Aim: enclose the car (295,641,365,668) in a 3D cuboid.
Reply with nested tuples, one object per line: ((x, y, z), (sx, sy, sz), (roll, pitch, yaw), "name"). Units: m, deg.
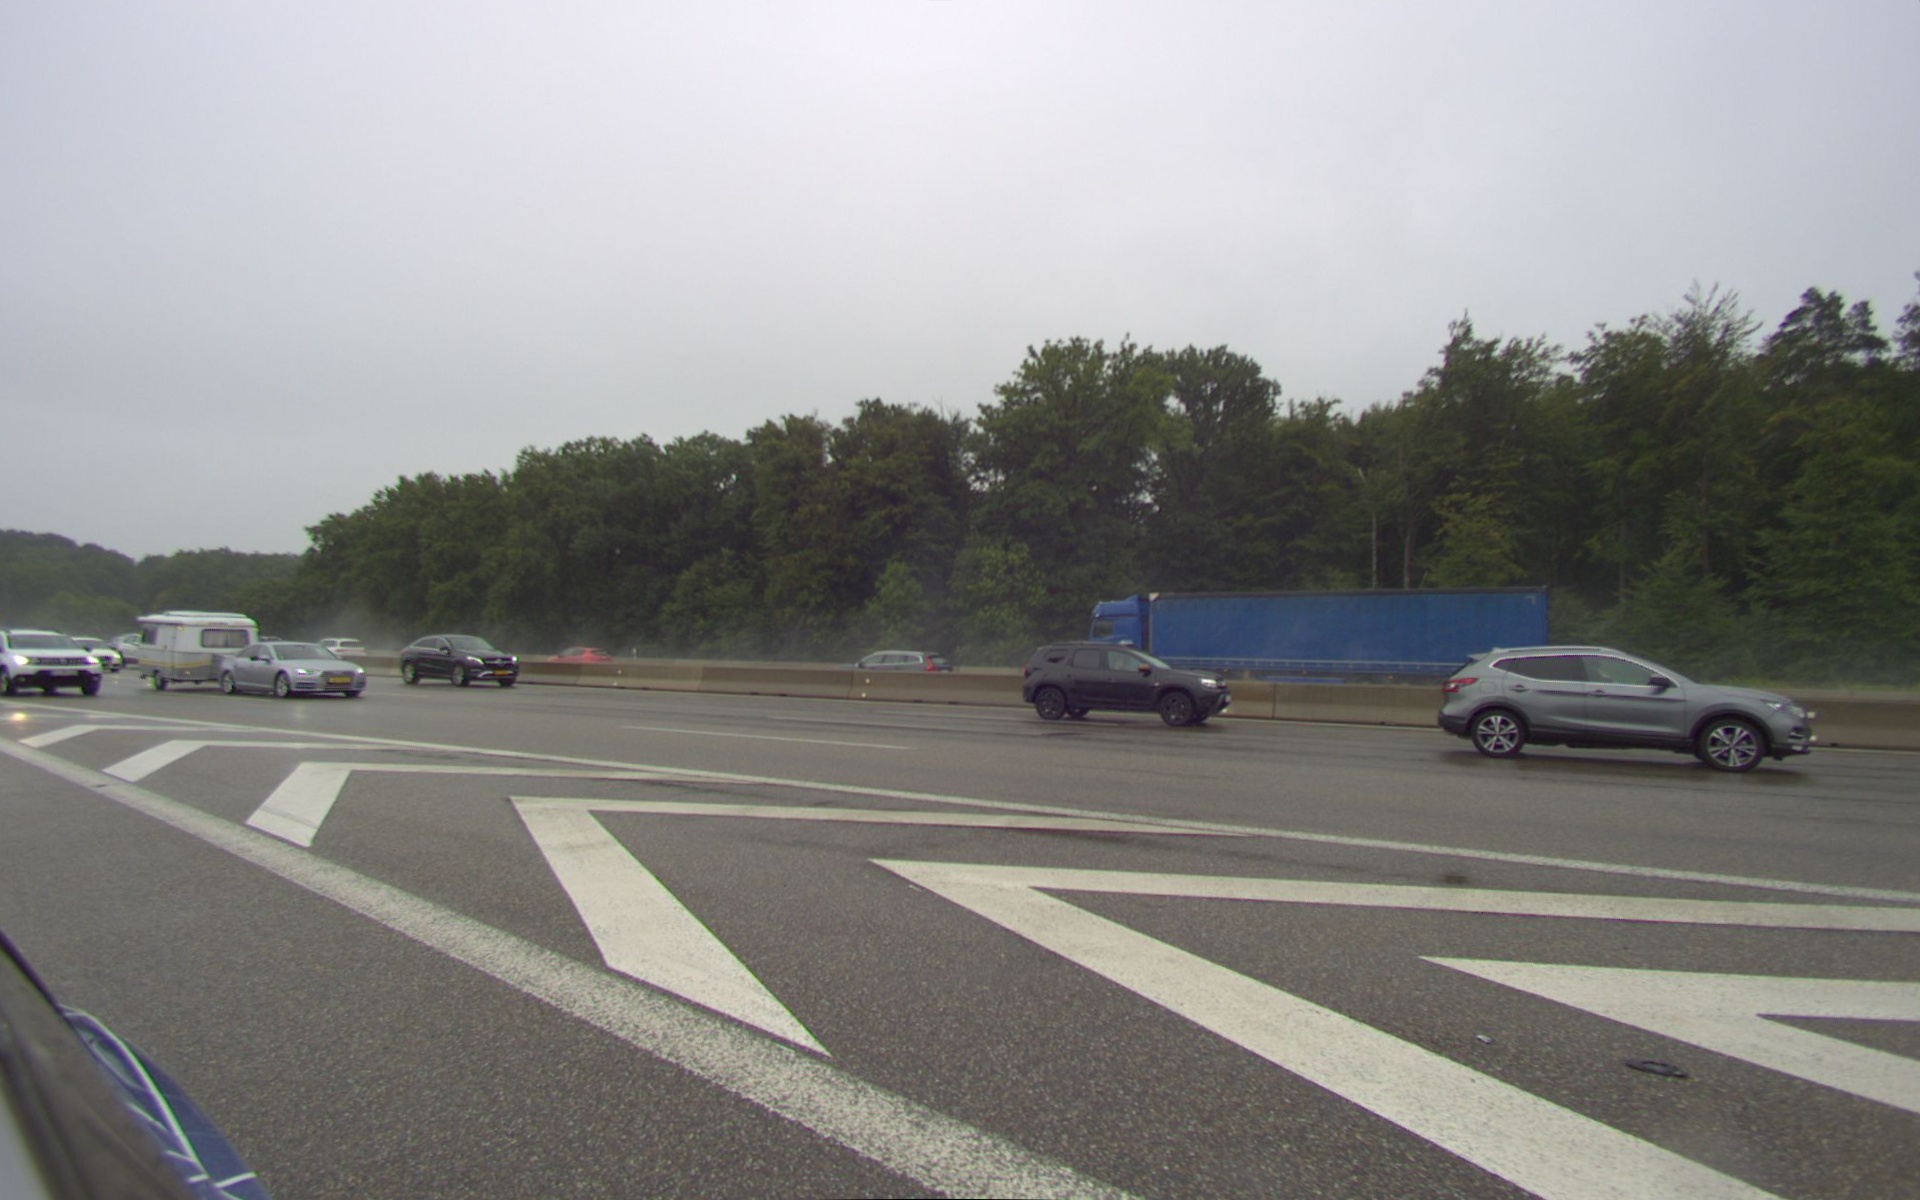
((-37.157, 3.180, 59.653), (4.321, 1.538, 1.774), (-1, -3, 32), "car")

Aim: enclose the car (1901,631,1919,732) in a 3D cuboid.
((21.007, 1.601, 19.375), (3.984, 2.029, 1.861), (-1, -3, 30), "car")

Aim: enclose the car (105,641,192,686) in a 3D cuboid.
((-38.889, 3.010, 48.483), (3.983, 2.029, 1.922), (-2, -1, 30), "car")

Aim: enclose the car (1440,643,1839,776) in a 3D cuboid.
((9.116, 1.413, 14.016), (4.319, 1.586, 1.705), (-1, -4, 32), "car")

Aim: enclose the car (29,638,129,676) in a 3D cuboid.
((-37.102, 2.390, 42.590), (4.486, 1.492, 1.866), (-1, -4, 31), "car")

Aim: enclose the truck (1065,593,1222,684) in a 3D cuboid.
((7.403, 1.537, 40.952), (5.687, 3.441, 2.742), (-1, -3, 30), "truck")

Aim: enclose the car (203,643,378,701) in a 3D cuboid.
((-17.025, 1.798, 25.684), (4.563, 1.358, 1.833), (-1, -5, 30), "car")

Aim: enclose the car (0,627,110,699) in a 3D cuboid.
((-22.775, 1.531, 24.659), (4.307, 1.598, 1.773), (-2, -5, 31), "car")

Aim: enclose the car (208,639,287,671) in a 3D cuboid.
((-40.097, 3.080, 56.942), (4.194, 1.697, 1.979), (0, -3, 30), "car")

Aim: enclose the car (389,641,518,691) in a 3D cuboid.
((-17.177, 2.214, 34.245), (4.508, 1.587, 1.692), (-1, -5, 31), "car")

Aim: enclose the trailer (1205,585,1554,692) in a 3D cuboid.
((14.848, 1.368, 36.629), (11.353, 3.443, 2.713), (-1, -3, 30), "trailer")

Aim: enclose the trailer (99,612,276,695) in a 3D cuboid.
((-22.104, 1.539, 28.924), (5.159, 2.172, 2.114), (-1, -5, 30), "trailer")

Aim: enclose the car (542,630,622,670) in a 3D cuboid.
((-20.038, 2.634, 53.608), (3.988, 2.029, 1.978), (-2, -3, 33), "car")

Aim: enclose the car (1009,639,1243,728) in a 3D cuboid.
((3.429, 1.684, 21.052), (4.438, 1.676, 1.913), (-1, -4, 28), "car")
